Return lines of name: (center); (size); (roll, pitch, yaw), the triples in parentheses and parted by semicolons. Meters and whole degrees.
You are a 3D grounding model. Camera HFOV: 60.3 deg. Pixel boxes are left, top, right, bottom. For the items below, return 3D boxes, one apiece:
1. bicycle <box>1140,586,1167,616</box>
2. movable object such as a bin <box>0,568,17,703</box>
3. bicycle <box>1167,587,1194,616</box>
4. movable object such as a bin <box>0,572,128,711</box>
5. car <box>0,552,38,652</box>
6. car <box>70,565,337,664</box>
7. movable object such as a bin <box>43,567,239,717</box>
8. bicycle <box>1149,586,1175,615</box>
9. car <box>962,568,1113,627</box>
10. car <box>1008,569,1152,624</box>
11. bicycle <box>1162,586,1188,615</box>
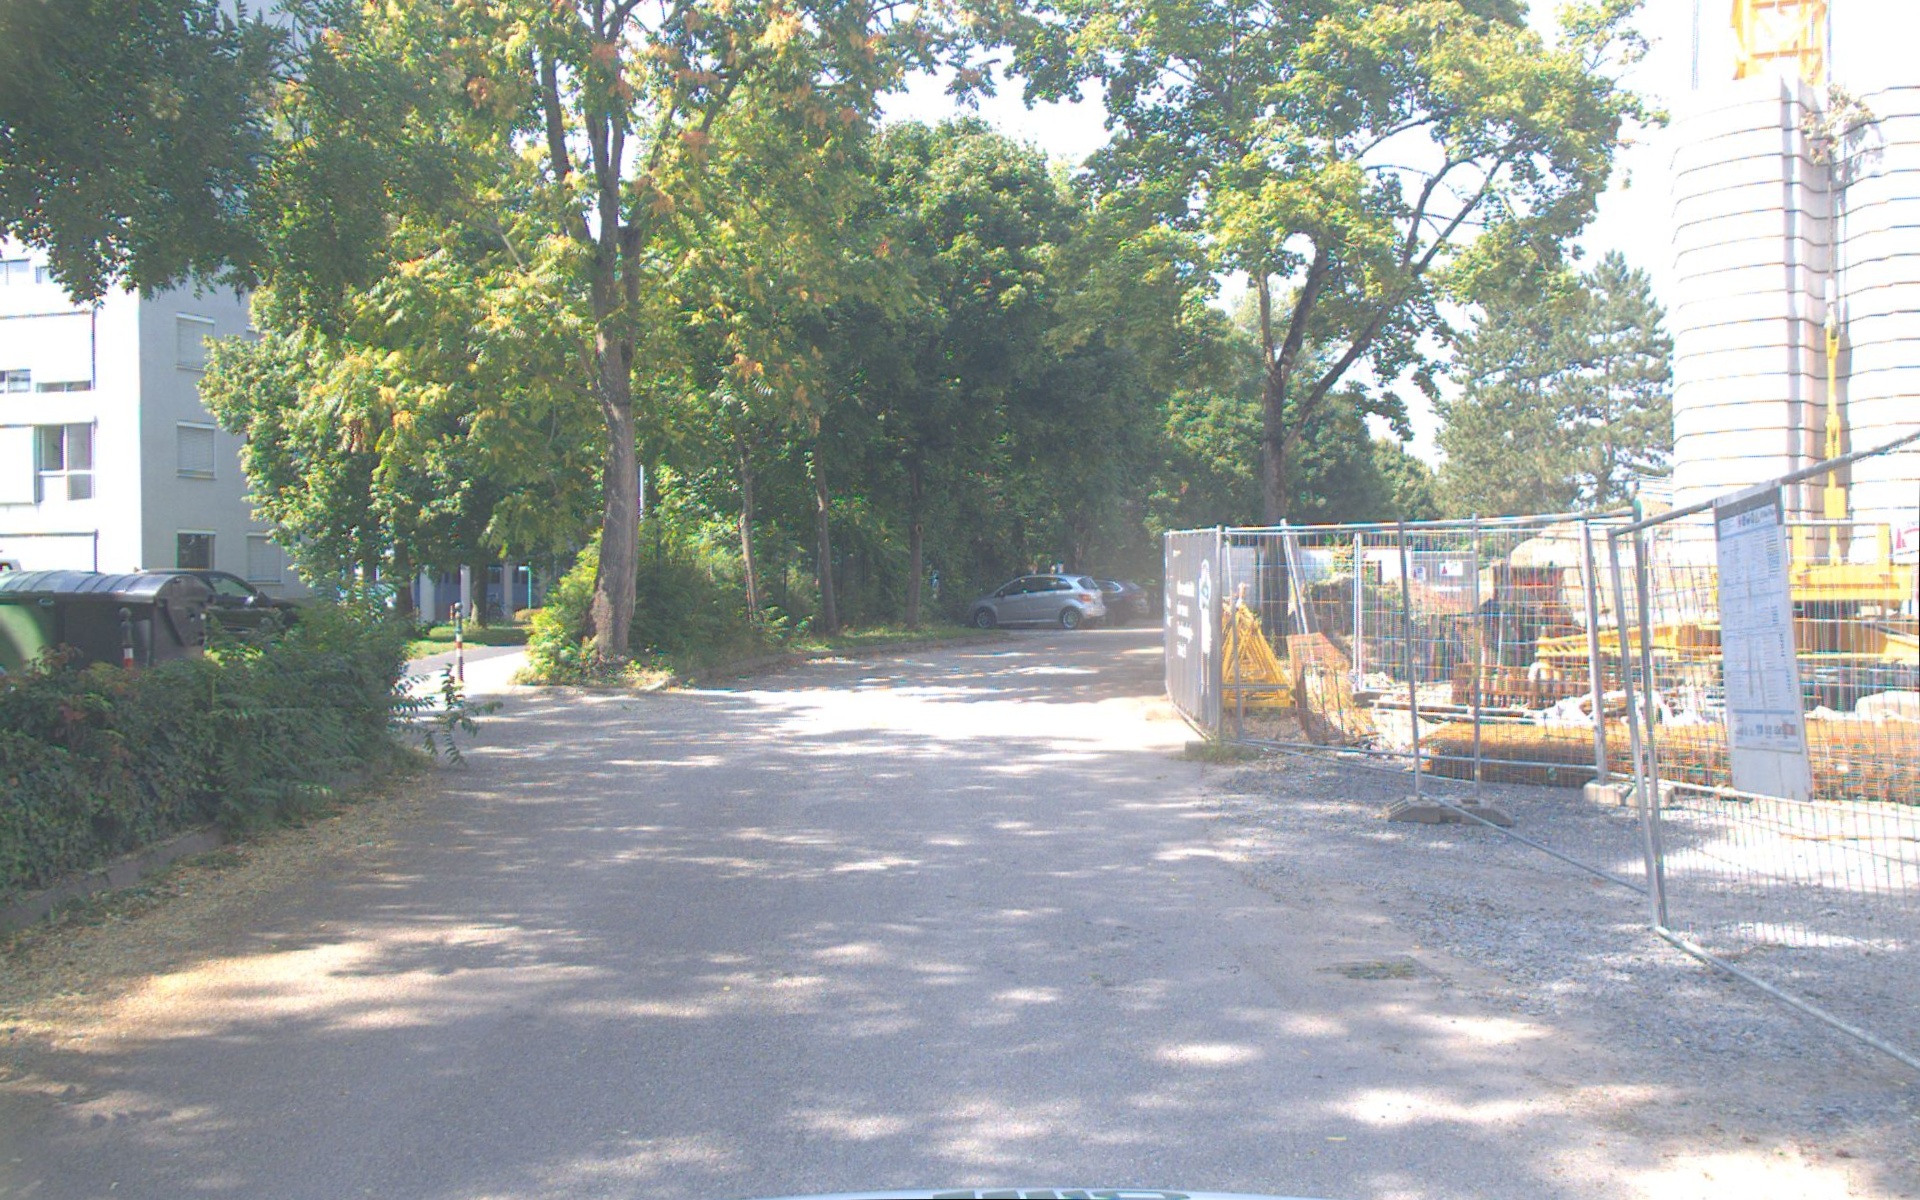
bicycle: (7.568, 0.034, 64.660); (0.489, 1.127, 1.798); (1, 1, 26)
movable object such as a bin: (-11.372, 0.392, 18.377); (1.074, 1.507, 1.102); (1, 0, 15)
bicycle: (8.593, 0.056, 64.483); (0.489, 1.127, 1.798); (1, 1, 26)
movable object such as a bin: (-10.165, 0.429, 18.203); (1.299, 1.457, 1.251); (1, 0, 15)
car: (-20.121, 0.051, 30.449); (2.444, 1.914, 5.083); (0, 1, 23)
car: (-12.629, 0.202, 27.854); (1.669, 1.554, 3.908); (0, 1, 27)
movable object such as a bin: (-8.707, 0.423, 17.655); (1.339, 1.519, 1.337); (1, 0, 7)
bicycle: (8.154, 0.019, 66.705); (0.489, 1.127, 1.798); (1, 1, 26)
car: (2.309, -0.098, 49.310); (4.063, 1.640, 2.000); (1, 1, 22)
car: (3.737, -0.128, 51.561); (4.063, 1.640, 2.000); (1, 1, 22)
bicycle: (8.651, 0.014, 66.520); (0.489, 1.127, 1.798); (1, 1, 26)
